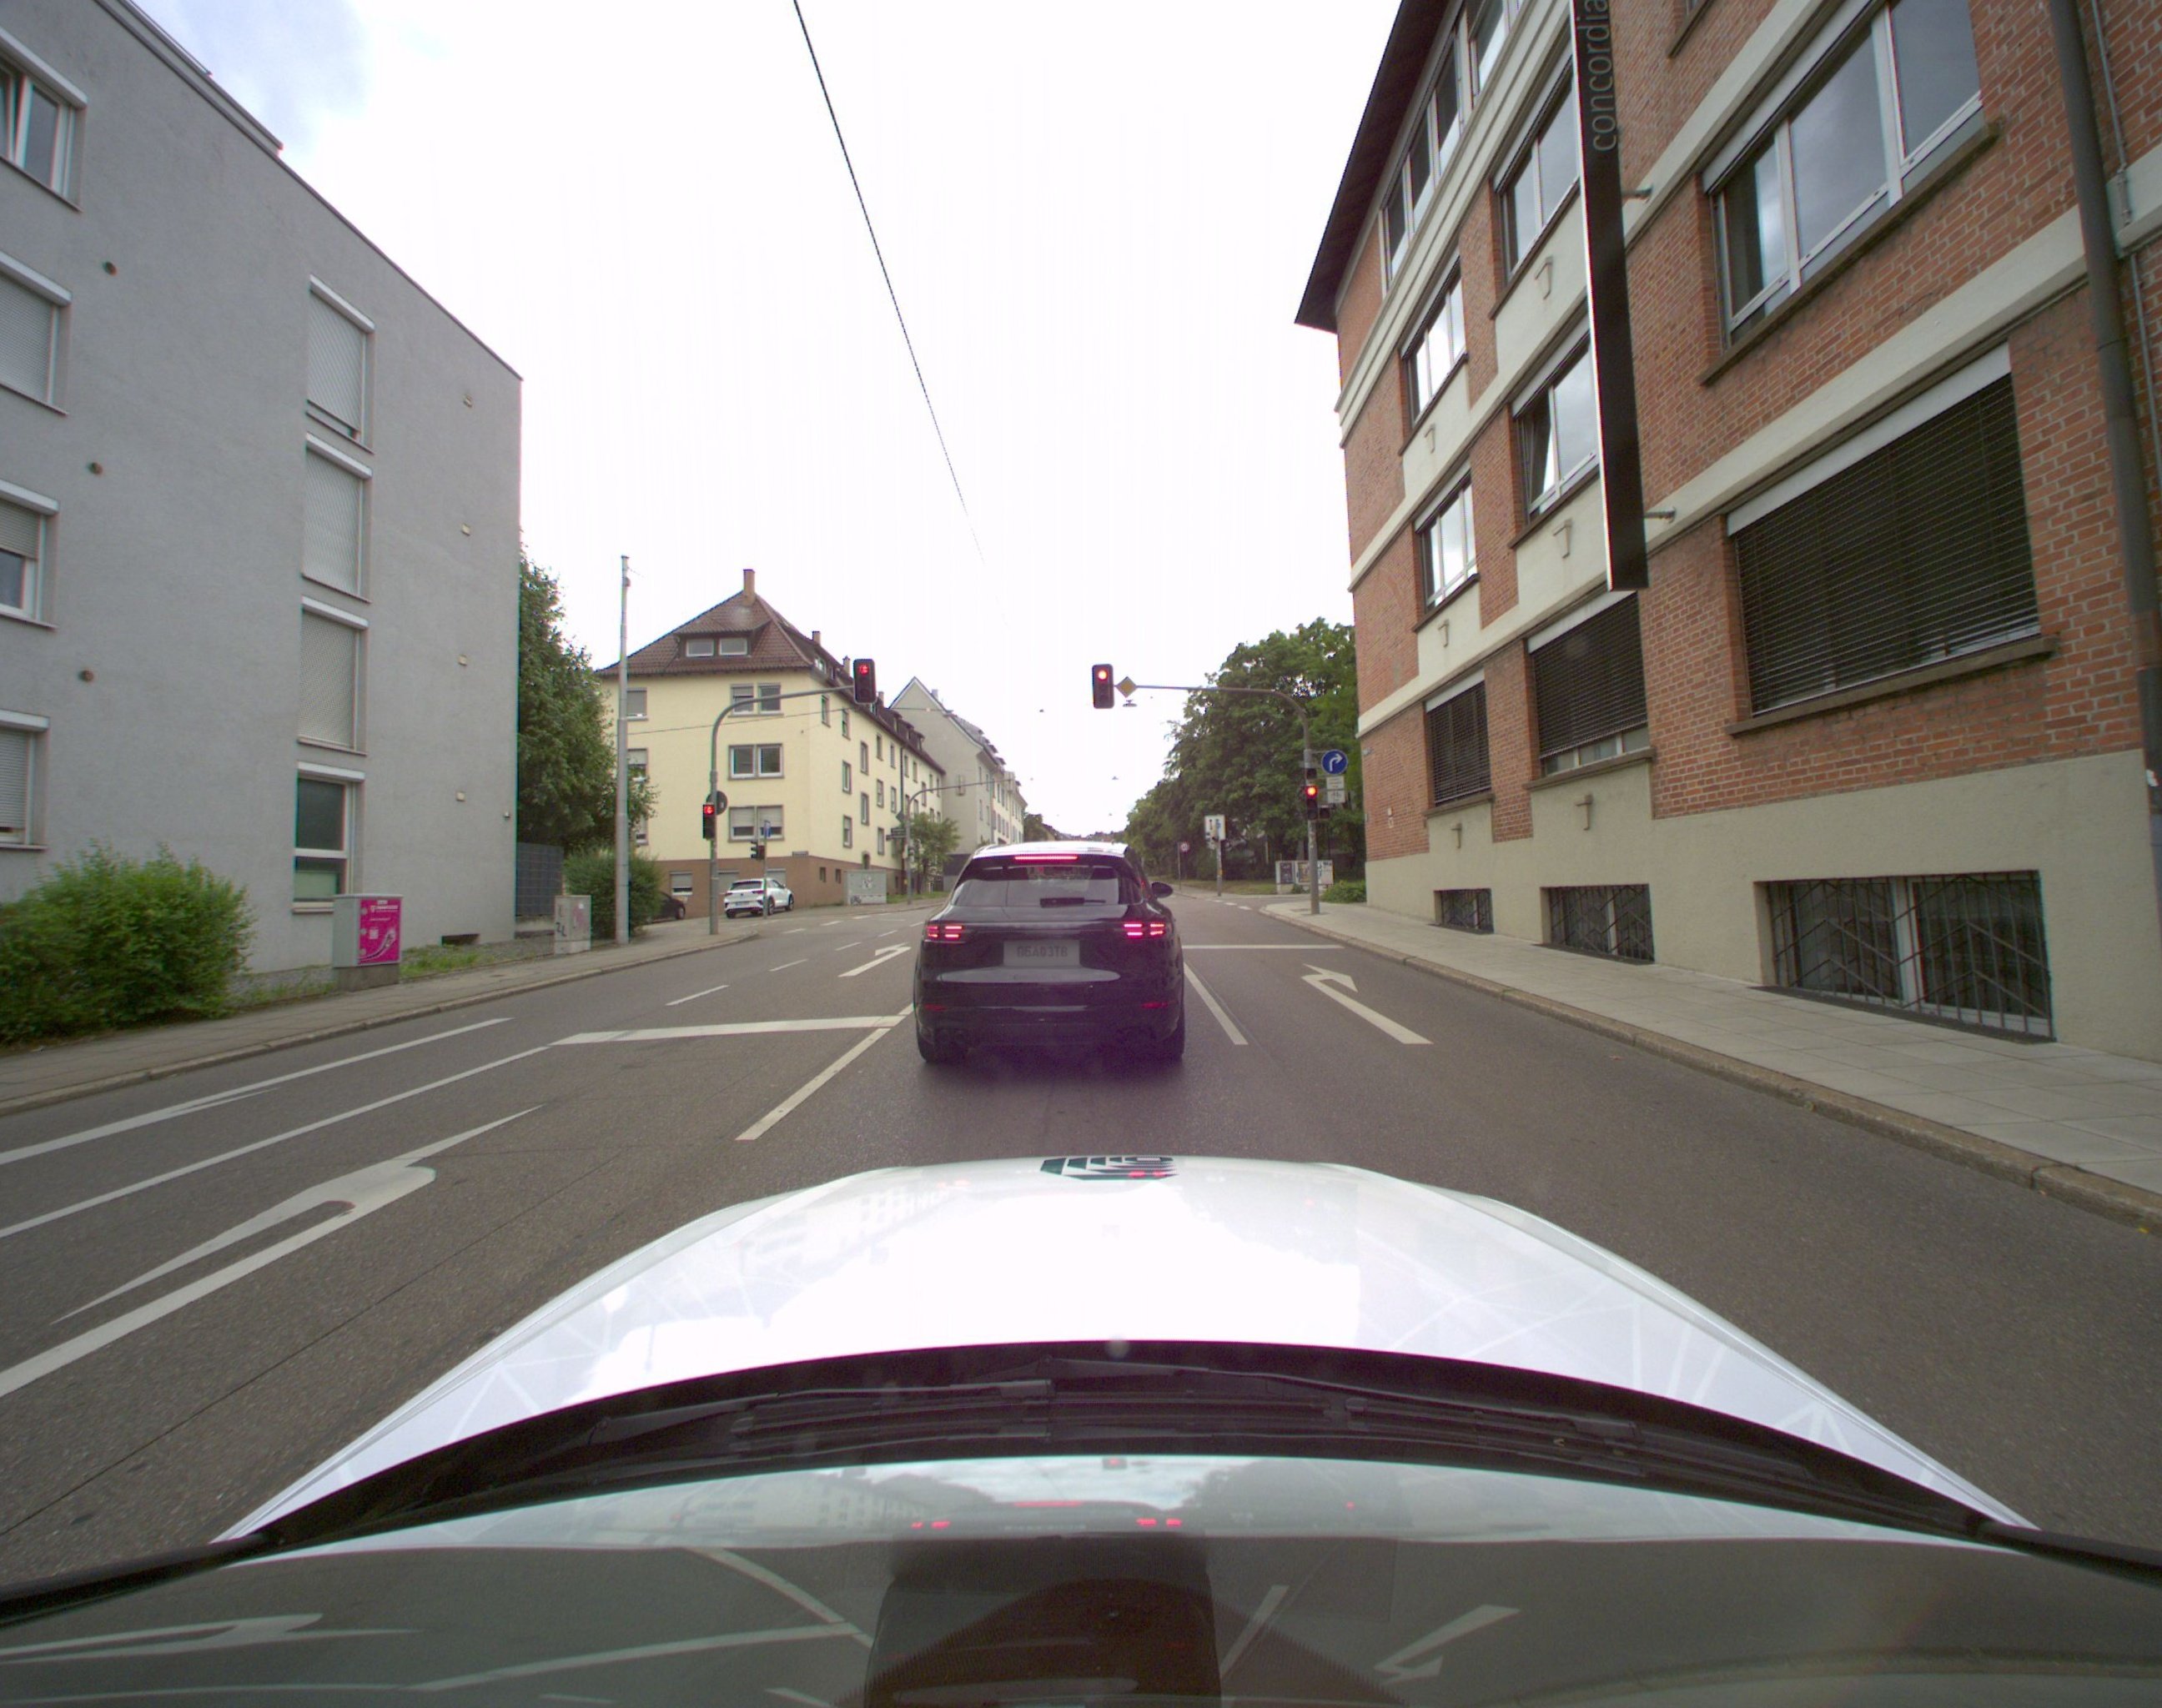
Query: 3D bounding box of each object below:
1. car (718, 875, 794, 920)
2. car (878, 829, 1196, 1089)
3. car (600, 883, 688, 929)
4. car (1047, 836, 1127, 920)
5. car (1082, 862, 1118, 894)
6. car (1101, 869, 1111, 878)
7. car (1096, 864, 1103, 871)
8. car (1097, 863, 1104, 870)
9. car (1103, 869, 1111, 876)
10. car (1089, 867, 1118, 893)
[{"bbox_3d":[-13.534,1.775,34.179,1.686,1.555,3.763,-4,0,-2],"label":"car"},{"bbox_3d":[-0.209,0.681,7.374,2.040,1.666,4.269,0,0,2],"label":"car"},{"bbox_3d":[-18.498,2.141,34.644,1.686,1.608,3.763,-4,0,-2],"label":"car"},{"bbox_3d":[0.225,0.597,22.025,1.957,2.042,4.137,0,0,2],"label":"car"},{"bbox_3d":[1.052,1.268,43.933,1.820,1.605,4.137,0,0,2],"label":"car"},{"bbox_3d":[5.041,3.898,163.368,1.820,1.605,4.137,0,0,2],"label":"car"},{"bbox_3d":[4.671,3.297,203.057,1.820,1.605,4.137,0,0,2],"label":"car"},{"bbox_3d":[5.090,3.272,210.378,1.820,1.605,4.137,0,0,2],"label":"car"},{"bbox_3d":[5.878,4.130,182.534,1.820,1.605,4.137,0,0,2],"label":"car"},{"bbox_3d":[1.467,1.647,52.641,1.820,1.605,3.860,0,0,2],"label":"car"}]
